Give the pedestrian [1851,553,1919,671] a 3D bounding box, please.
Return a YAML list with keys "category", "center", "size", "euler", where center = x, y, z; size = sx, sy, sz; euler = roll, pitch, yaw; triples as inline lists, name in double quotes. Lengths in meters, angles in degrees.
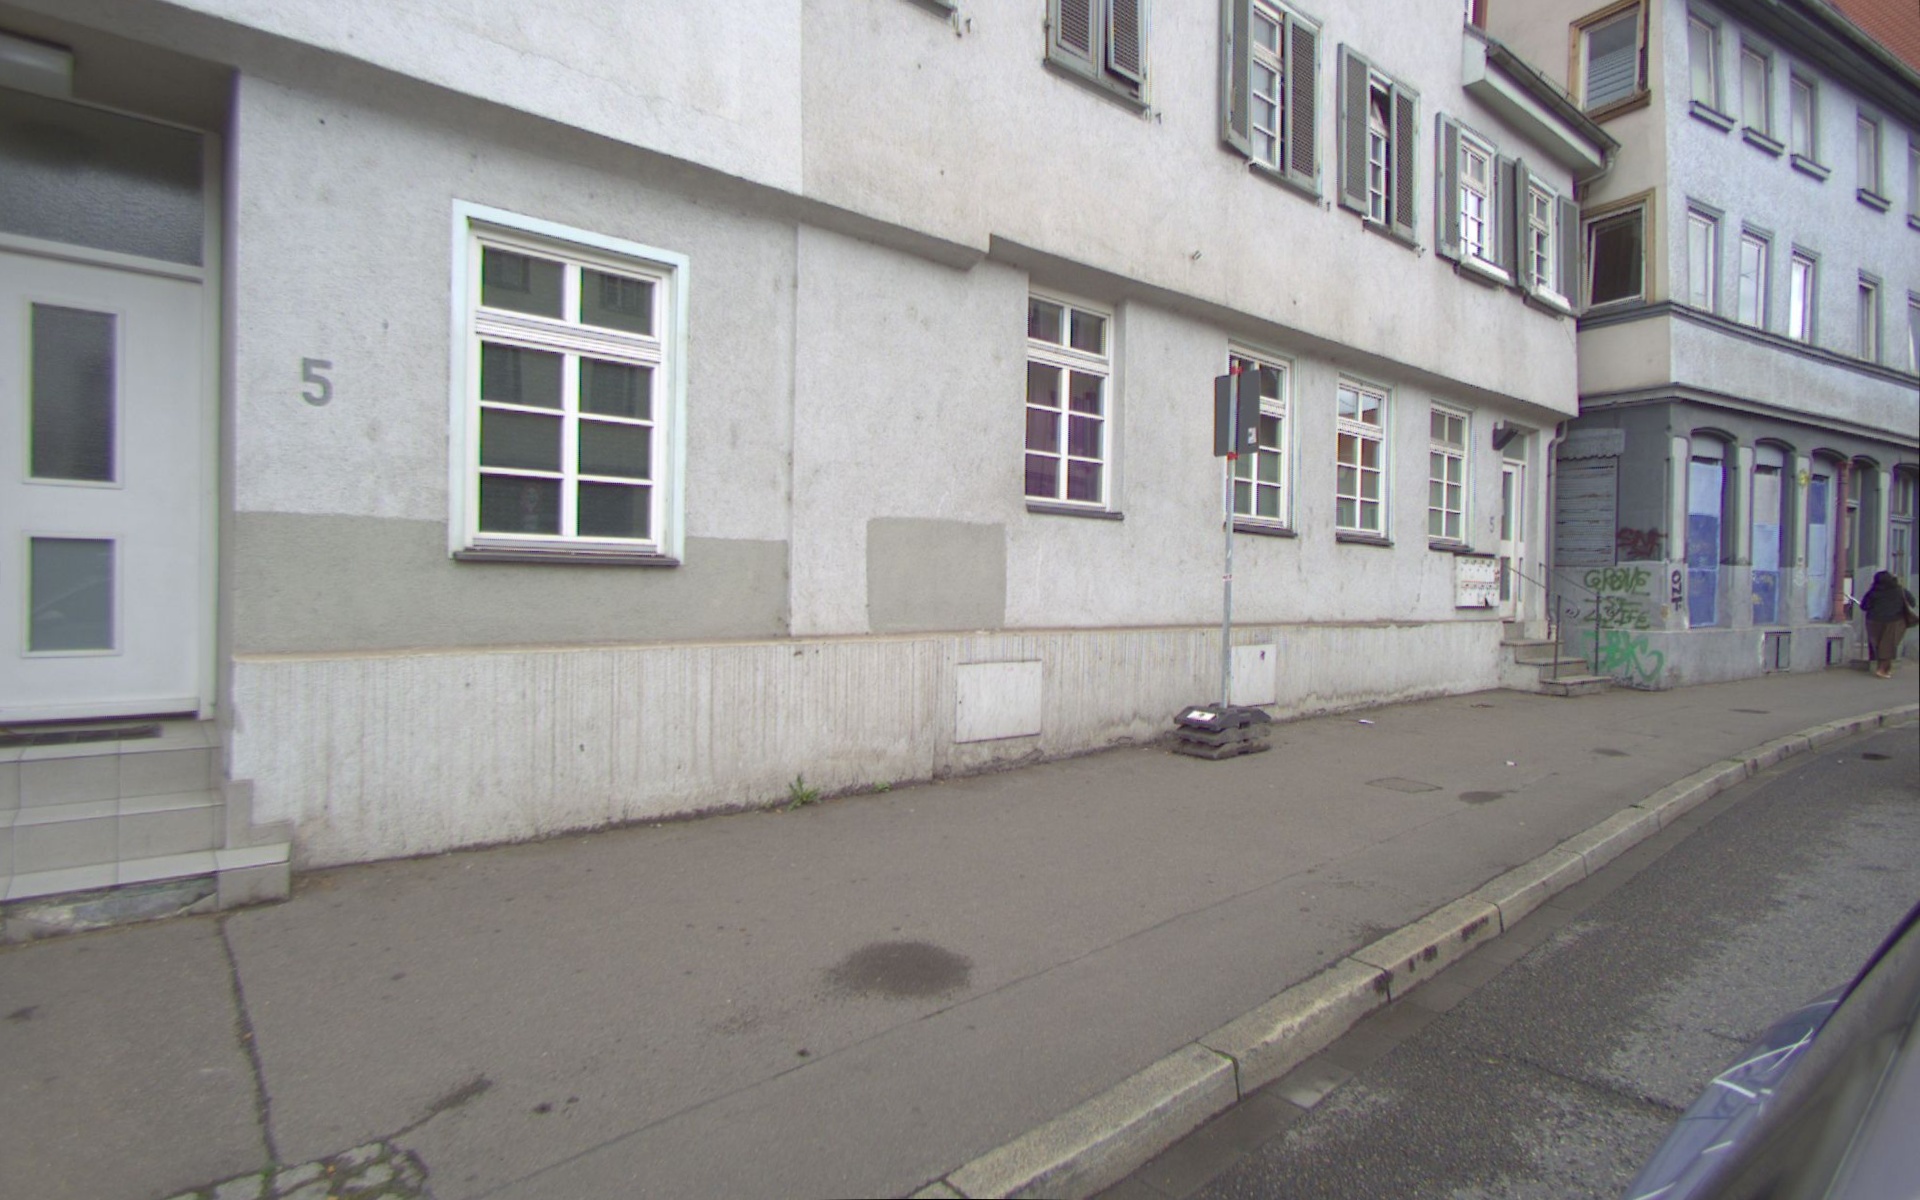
- category: "pedestrian"
  center: [14.108, 0.168, 15.209]
  size: [0.793, 1.687, 0.758]
  euler: [1, 3, -31]
